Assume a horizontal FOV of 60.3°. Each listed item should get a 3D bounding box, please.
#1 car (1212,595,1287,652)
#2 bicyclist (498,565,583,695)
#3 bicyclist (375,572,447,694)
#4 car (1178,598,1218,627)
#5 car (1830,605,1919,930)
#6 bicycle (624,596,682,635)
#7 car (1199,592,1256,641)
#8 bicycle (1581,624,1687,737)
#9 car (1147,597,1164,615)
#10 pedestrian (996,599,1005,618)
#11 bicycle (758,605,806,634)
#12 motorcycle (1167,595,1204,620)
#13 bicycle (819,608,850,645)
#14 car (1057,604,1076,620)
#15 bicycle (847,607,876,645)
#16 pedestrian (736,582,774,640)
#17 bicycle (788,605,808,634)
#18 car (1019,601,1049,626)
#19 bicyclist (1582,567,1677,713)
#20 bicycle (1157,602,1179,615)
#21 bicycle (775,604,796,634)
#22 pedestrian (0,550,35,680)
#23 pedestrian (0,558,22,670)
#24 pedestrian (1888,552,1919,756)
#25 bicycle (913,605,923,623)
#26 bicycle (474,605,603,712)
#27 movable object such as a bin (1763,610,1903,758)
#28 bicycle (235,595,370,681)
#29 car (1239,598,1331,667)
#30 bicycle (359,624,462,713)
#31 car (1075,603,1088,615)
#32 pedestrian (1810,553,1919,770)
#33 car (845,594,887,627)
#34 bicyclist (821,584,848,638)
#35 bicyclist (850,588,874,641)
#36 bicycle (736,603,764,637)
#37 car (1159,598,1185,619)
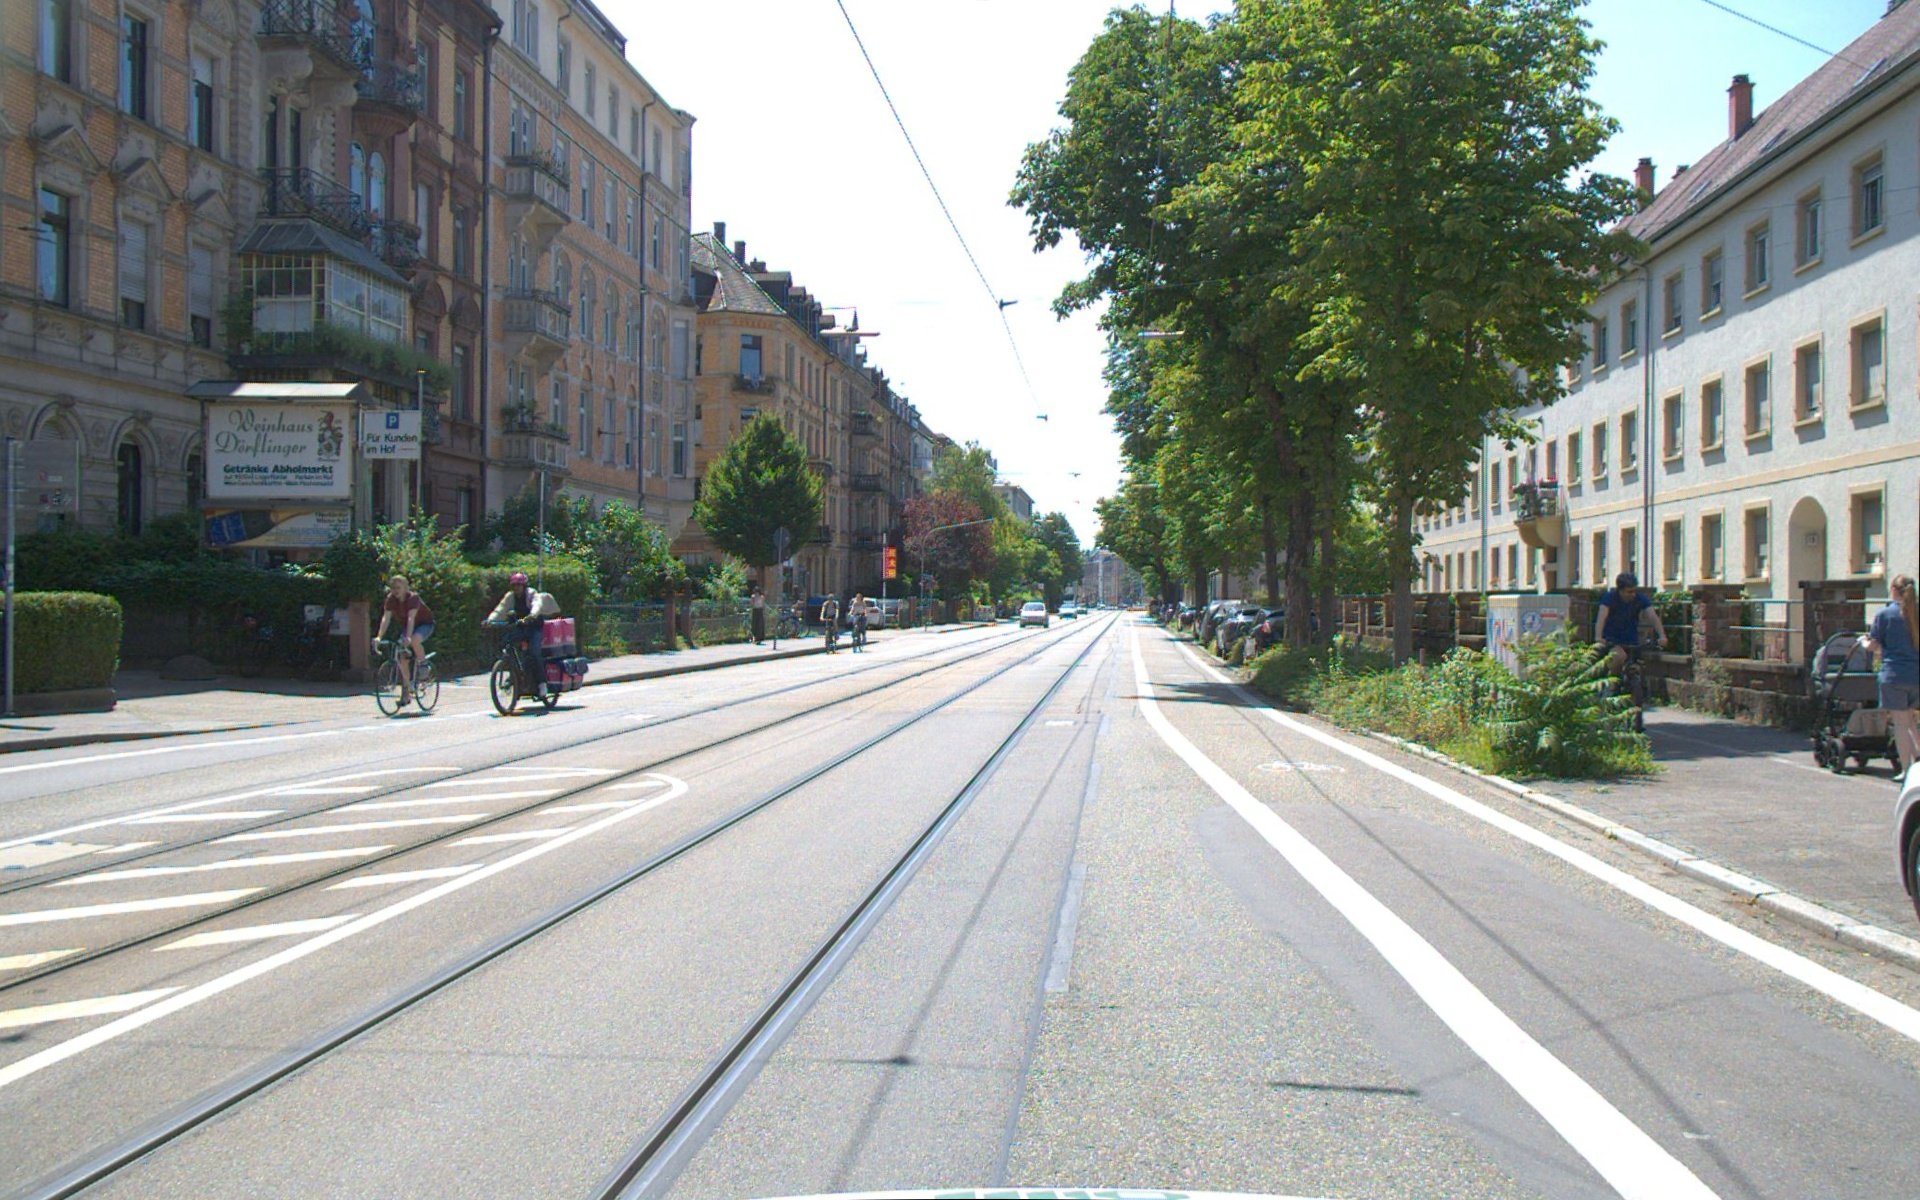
[{"bbox_3d":[8.404,0.649,48.308,1.696,1.579,4.456,0,0,4],"label":"car"},{"bbox_3d":[-5.492,0.382,21.698,0.790,1.658,0.981,0,0,6],"label":"bicyclist"},{"bbox_3d":[-7.060,0.415,21.297,0.550,1.542,0.892,0,0,6],"label":"bicyclist"},{"bbox_3d":[12.685,0.659,88.345,1.732,1.451,4.864,0,0,3],"label":"car"},{"bbox_3d":[5.044,0.713,6.022,1.740,1.435,4.159,-4,0,5],"label":"car"},{"bbox_3d":[-8.479,0.432,45.688,1.478,1.062,0.495,0,0,7],"label":"bicycle"},{"bbox_3d":[9.531,0.550,59.040,1.906,1.679,4.884,0,0,9],"label":"car"},{"bbox_3d":[6.953,0.805,17.137,0.589,1.069,1.824,0,0,8],"label":"bicycle"},{"bbox_3d":[23.464,0.697,198.191,1.951,2.071,4.700,0,0,6],"label":"car"},{"bbox_3d":[3.519,0.728,143.859,0.735,1.657,0.833,1,0,1],"label":"pedestrian"},{"bbox_3d":[-6.561,0.712,60.896,1.669,1.055,0.551,1,0,10],"label":"bicycle"},{"bbox_3d":[14.146,0.465,103.716,0.862,1.567,2.286,1,0,-41],"label":"motorcycle"},{"bbox_3d":[-3.822,0.803,50.348,0.616,1.097,1.876,-1,0,5],"label":"bicycle"},{"bbox_3d":[10.313,1.141,159.977,1.719,1.449,4.003,0,0,6],"label":"car"},{"bbox_3d":[-2.993,0.782,50.459,0.569,1.097,1.892,-1,0,5],"label":"bicycle"},{"bbox_3d":[-6.347,0.333,51.249,0.833,1.753,1.139,3,0,6],"label":"pedestrian"},{"bbox_3d":[-5.828,0.704,59.462,0.429,1.000,1.712,1,0,4],"label":"bicycle"},{"bbox_3d":[4.519,0.797,100.377,1.649,1.475,4.003,0,0,5],"label":"car"},{"bbox_3d":[6.970,0.404,17.260,0.696,1.477,1.011,0,0,8],"label":"bicyclist"},{"bbox_3d":[17.501,0.727,139.093,1.849,1.070,0.538,0,-1,13],"label":"bicycle"},{"bbox_3d":[-6.042,0.648,57.430,0.429,1.000,1.712,1,0,4],"label":"bicycle"},{"bbox_3d":[-14.214,0.211,24.408,0.810,1.889,0.865,0,0,-42],"label":"pedestrian"},{"bbox_3d":[-15.237,0.218,25.704,0.892,1.730,0.821,0,0,33],"label":"pedestrian"},{"bbox_3d":[8.286,0.436,13.744,0.682,1.699,0.756,-2,0,5],"label":"pedestrian"},{"bbox_3d":[-2.370,0.780,94.419,0.444,1.021,1.807,1,0,2],"label":"bicycle"},{"bbox_3d":[-5.487,0.726,21.718,0.790,1.294,2.552,0,0,6],"label":"bicycle"},{"bbox_3d":[7.598,0.711,14.436,0.682,1.206,1.037,-2,0,5],"label":"movable object such as a bin"},{"bbox_3d":[-10.268,0.586,25.855,1.831,1.249,0.568,2,0,3],"label":"bicycle"},{"bbox_3d":[7.742,0.745,39.726,1.622,1.541,4.002,0,0,3],"label":"car"},{"bbox_3d":[-7.061,0.859,21.335,0.555,1.056,1.830,0,0,6],"label":"bicycle"},{"bbox_3d":[15.767,1.174,214.237,1.650,1.480,3.751,0,0,6],"label":"car"},{"bbox_3d":[7.508,0.482,13.479,0.682,1.699,0.869,-2,0,5],"label":"pedestrian"},{"bbox_3d":[-4.841,0.519,85.490,1.827,1.628,4.102,2,0,1],"label":"car"},{"bbox_3d":[-3.822,0.325,50.452,0.620,1.612,1.029,-1,0,5],"label":"bicyclist"},{"bbox_3d":[-2.993,0.441,50.478,0.580,1.571,0.953,-1,0,5],"label":"bicyclist"},{"bbox_3d":[-6.640,0.630,52.316,0.486,1.004,1.712,4,0,4],"label":"bicycle"},{"bbox_3d":[16.001,0.655,125.193,1.736,1.527,4.308,-1,0,5],"label":"car"}]
